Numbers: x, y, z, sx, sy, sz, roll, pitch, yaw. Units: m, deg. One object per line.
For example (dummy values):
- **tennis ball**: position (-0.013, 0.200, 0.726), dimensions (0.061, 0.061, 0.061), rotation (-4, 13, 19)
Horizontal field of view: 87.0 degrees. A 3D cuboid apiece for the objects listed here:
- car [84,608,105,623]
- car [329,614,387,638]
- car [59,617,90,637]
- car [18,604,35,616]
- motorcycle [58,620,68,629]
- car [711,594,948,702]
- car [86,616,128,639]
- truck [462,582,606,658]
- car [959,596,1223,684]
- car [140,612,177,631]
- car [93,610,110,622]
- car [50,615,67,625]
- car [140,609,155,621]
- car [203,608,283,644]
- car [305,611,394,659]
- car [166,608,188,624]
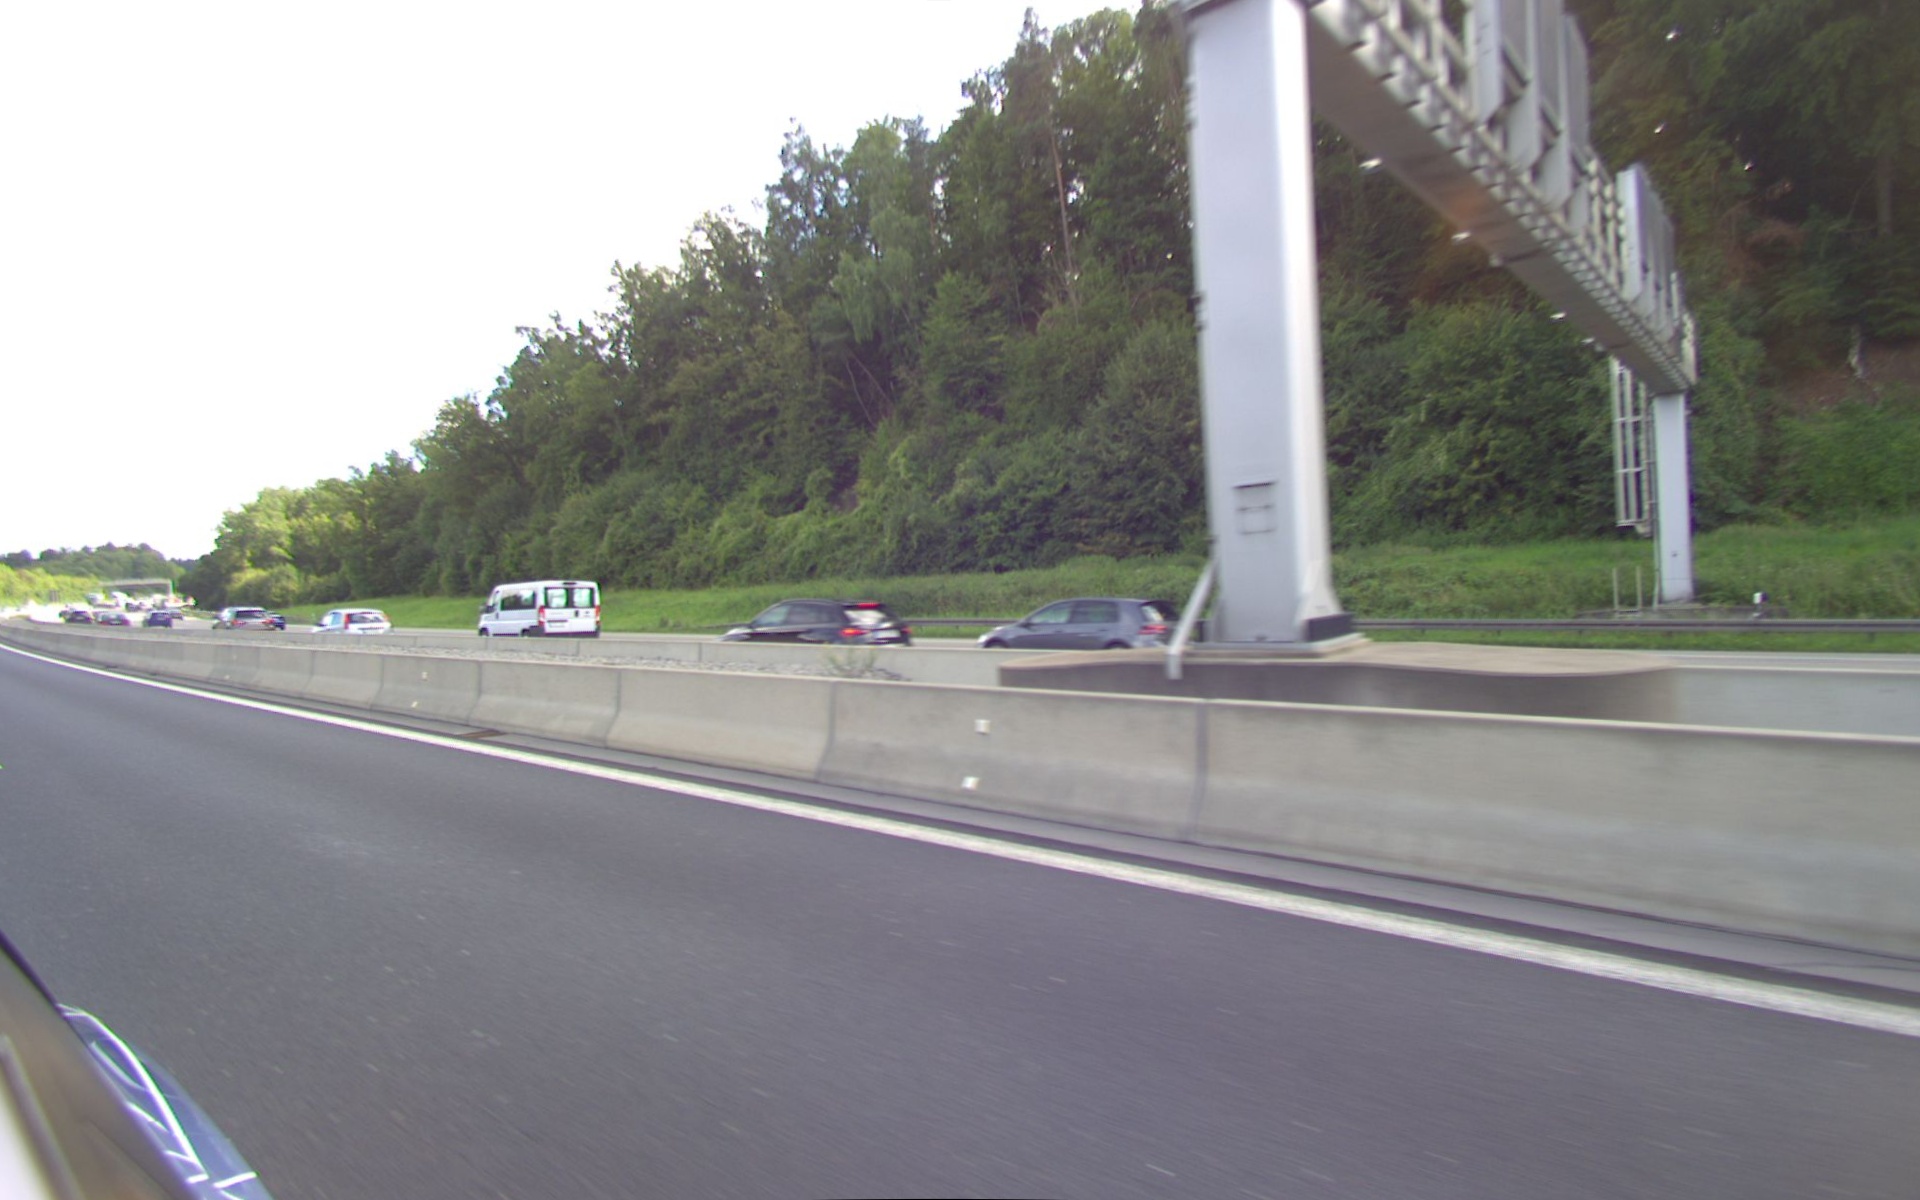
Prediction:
- **car**: position (-117.351, 2.089, 137.198), dimensions (1.970, 2.029, 4.782), rotation (-1, 0, -44)
- **car**: position (-35.812, 1.547, 60.165), dimensions (4.186, 1.321, 1.803), rotation (-1, 0, 42)
- **car**: position (-81.417, 2.445, 93.036), dimensions (4.316, 1.710, 1.855), rotation (-1, 0, 45)
- **car**: position (-157.324, 1.677, 170.631), dimensions (1.969, 2.050, 4.006), rotation (-1, 0, -41)
- **motorcycle**: position (-120.936, 3.313, 136.496), dimensions (0.911, 1.197, 2.643), rotation (-1, 0, -40)
- **car**: position (-2.357, 0.768, 17.714), dimensions (3.998, 1.653, 1.973), rotation (-1, 0, 42)
- **car**: position (-59.388, 1.882, 70.449), dimensions (4.500, 1.551, 1.680), rotation (-1, 0, 42)
- **truck**: position (-13.826, 0.619, 32.660), dimensions (5.570, 2.242, 2.160), rotation (-1, 0, 43)
- **car**: position (2.257, 0.675, 18.356), dimensions (4.598, 1.406, 1.648), rotation (-1, 0, 41)
- **car**: position (-69.620, 1.863, 87.895), dimensions (4.742, 1.551, 1.971), rotation (-1, 0, 45)
- **car**: position (-157.271, 2.964, 185.318), dimensions (2.174, 2.146, 8.087), rotation (-1, 0, -41)
- **car**: position (-149.323, 3.286, 167.676), dimensions (1.970, 1.639, 4.782), rotation (-1, 0, -44)
- **car**: position (-151.722, 2.811, 189.019), dimensions (1.969, 2.050, 4.006), rotation (-1, 0, -41)
- **car**: position (-33.241, 1.202, 46.867), dimensions (5.284, 1.548, 1.972), rotation (-1, 0, 43)
- **car**: position (-20.108, 1.131, 33.292), dimensions (3.889, 1.461, 1.548), rotation (-1, 0, 44)
- **car**: position (-107.490, 2.173, 138.941), dimensions (2.001, 2.050, 4.786), rotation (-1, 0, -43)
